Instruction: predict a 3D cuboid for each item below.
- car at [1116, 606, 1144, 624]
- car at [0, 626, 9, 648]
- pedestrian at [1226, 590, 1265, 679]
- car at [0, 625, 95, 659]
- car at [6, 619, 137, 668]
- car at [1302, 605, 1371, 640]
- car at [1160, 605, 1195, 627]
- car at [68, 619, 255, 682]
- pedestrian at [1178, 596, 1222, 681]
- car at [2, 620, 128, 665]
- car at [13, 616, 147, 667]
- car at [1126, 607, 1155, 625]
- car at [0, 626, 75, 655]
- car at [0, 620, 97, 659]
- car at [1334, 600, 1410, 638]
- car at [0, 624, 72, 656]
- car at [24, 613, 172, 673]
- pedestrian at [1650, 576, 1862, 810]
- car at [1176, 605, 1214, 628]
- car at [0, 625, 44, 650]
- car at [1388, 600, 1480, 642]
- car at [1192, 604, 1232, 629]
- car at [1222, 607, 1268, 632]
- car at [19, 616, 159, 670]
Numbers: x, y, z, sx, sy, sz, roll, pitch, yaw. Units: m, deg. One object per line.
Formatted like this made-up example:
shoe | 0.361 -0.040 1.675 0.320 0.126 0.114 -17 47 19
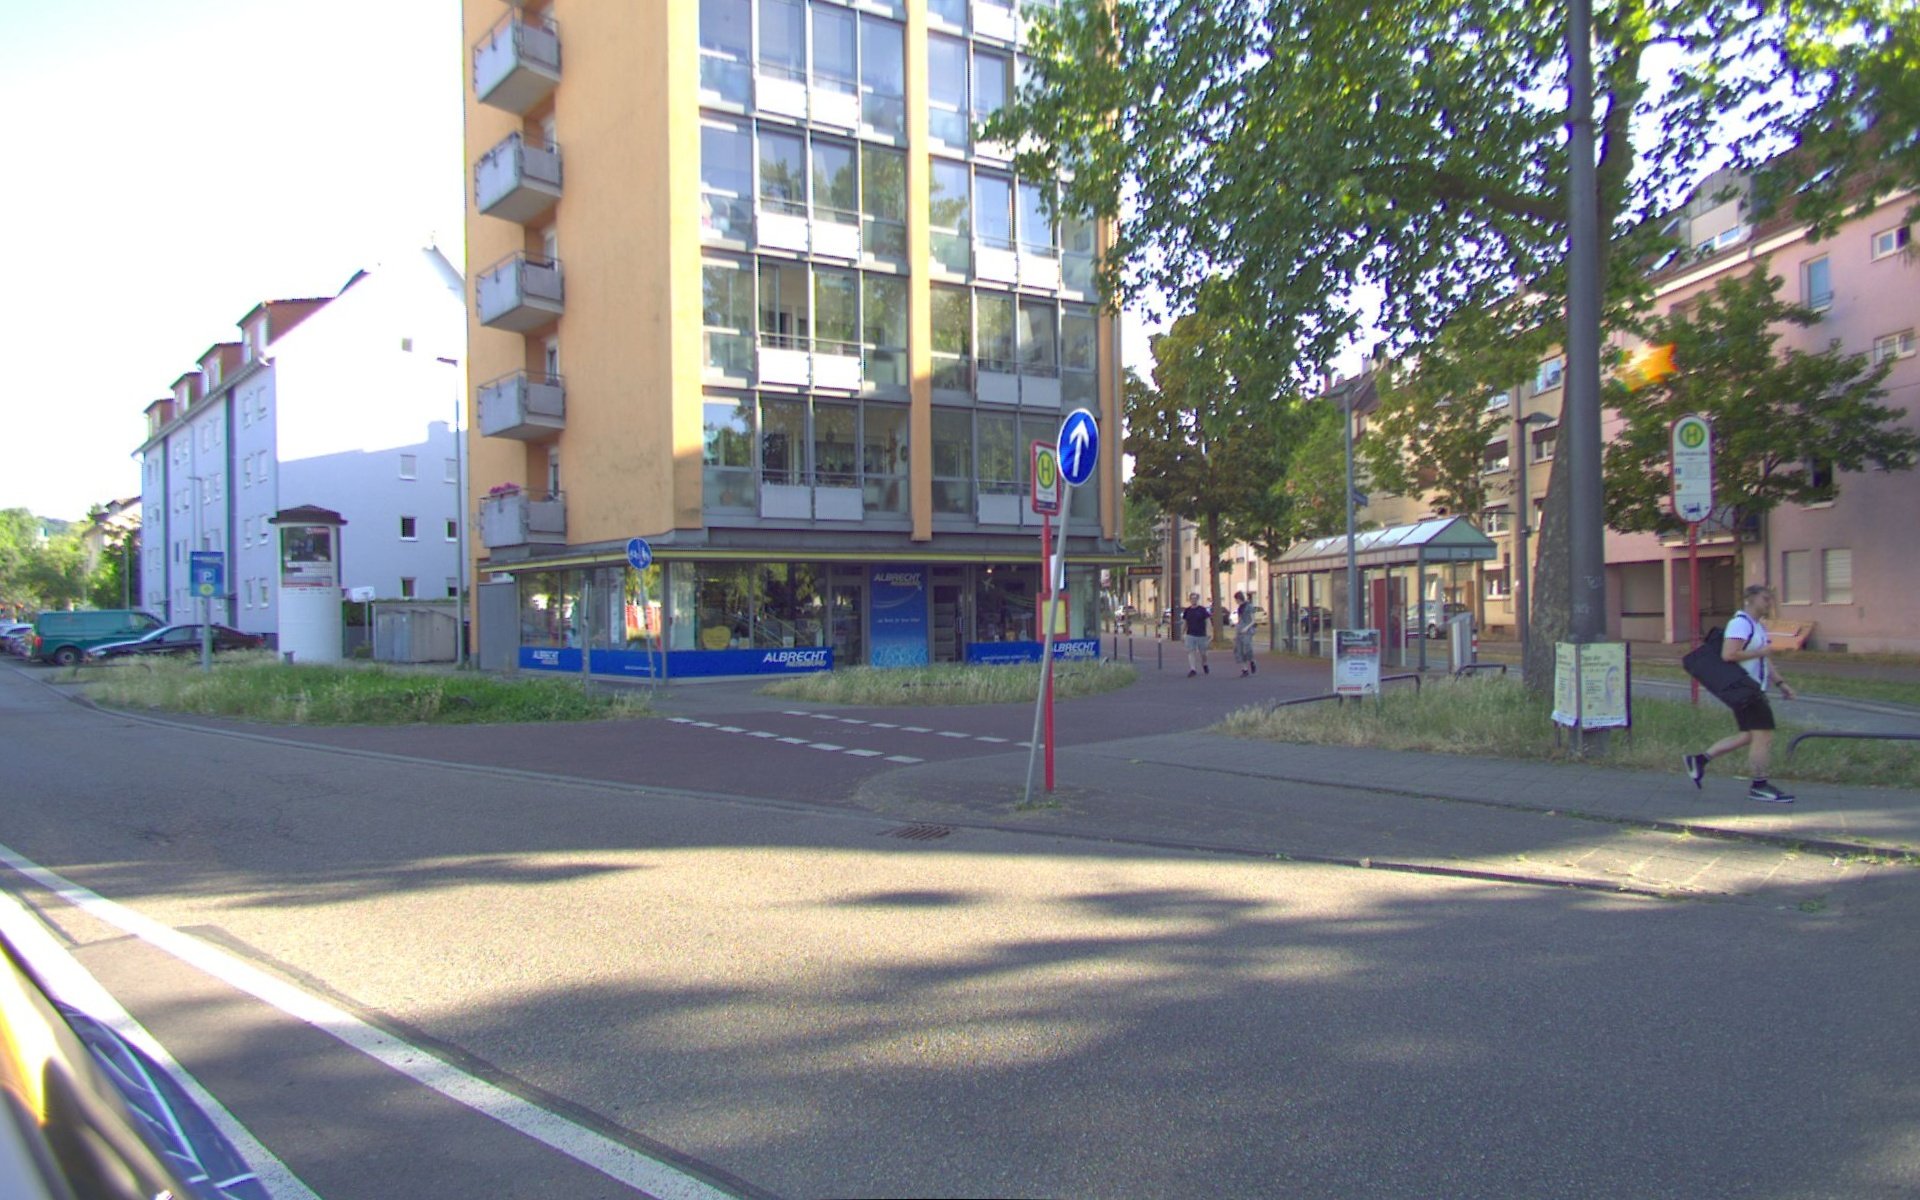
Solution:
car | 17.715 1.550 105.574 1.911 1.719 4.372 -1 0 -3
car | -74.780 2.865 76.997 3.490 1.585 1.867 -1 0 -44
pedestrian | 5.804 0.690 20.617 0.622 1.763 0.689 -1 0 6
car | -48.142 2.191 52.989 4.199 1.585 1.867 -1 0 -44
car | -36.880 1.741 42.043 4.003 1.829 1.938 -1 0 -44
car | 19.895 1.163 53.627 1.911 1.719 4.115 -1 0 -3
car | 18.411 1.324 85.828 1.830 1.719 4.170 -1 0 -3
car | -24.295 1.461 30.895 4.361 1.674 2.003 -1 0 -41
pedestrian | 5.065 0.811 21.373 0.803 1.763 0.538 -1 0 6
car | -38.849 1.796 43.961 4.016 1.765 1.900 -1 0 -44
car | -35.142 1.610 40.464 3.941 1.829 2.001 -1 0 -44
car | 17.765 1.555 99.901 1.911 1.719 4.003 -1 0 -3
car | -55.681 2.407 60.414 4.199 1.585 1.867 -1 0 -44
car | -46.139 1.957 50.898 4.061 1.785 1.758 -1 0 -44
car | 19.884 0.883 49.014 1.911 1.719 3.827 -1 0 -3
car | -55.814 2.377 60.468 4.016 1.765 1.900 -1 0 -44
car | -31.237 1.499 36.719 2.001 1.962 3.942 -1 0 44
pedestrian | 6.364 0.698 8.170 1.080 1.750 0.897 -1 0 19
car | 18.622 1.287 80.374 1.771 1.719 4.170 -1 0 -3
car | -63.517 2.498 67.027 4.199 1.585 1.867 -1 0 -44
car | 20.724 0.877 44.459 1.911 1.719 4.115 -1 0 -3
car | 18.684 1.207 75.184 1.808 1.719 4.059 -1 0 -3
car | 19.151 1.293 68.080 1.741 1.588 4.049 -1 0 -3
car | -33.143 1.587 38.562 3.941 1.829 2.001 -1 0 -44
